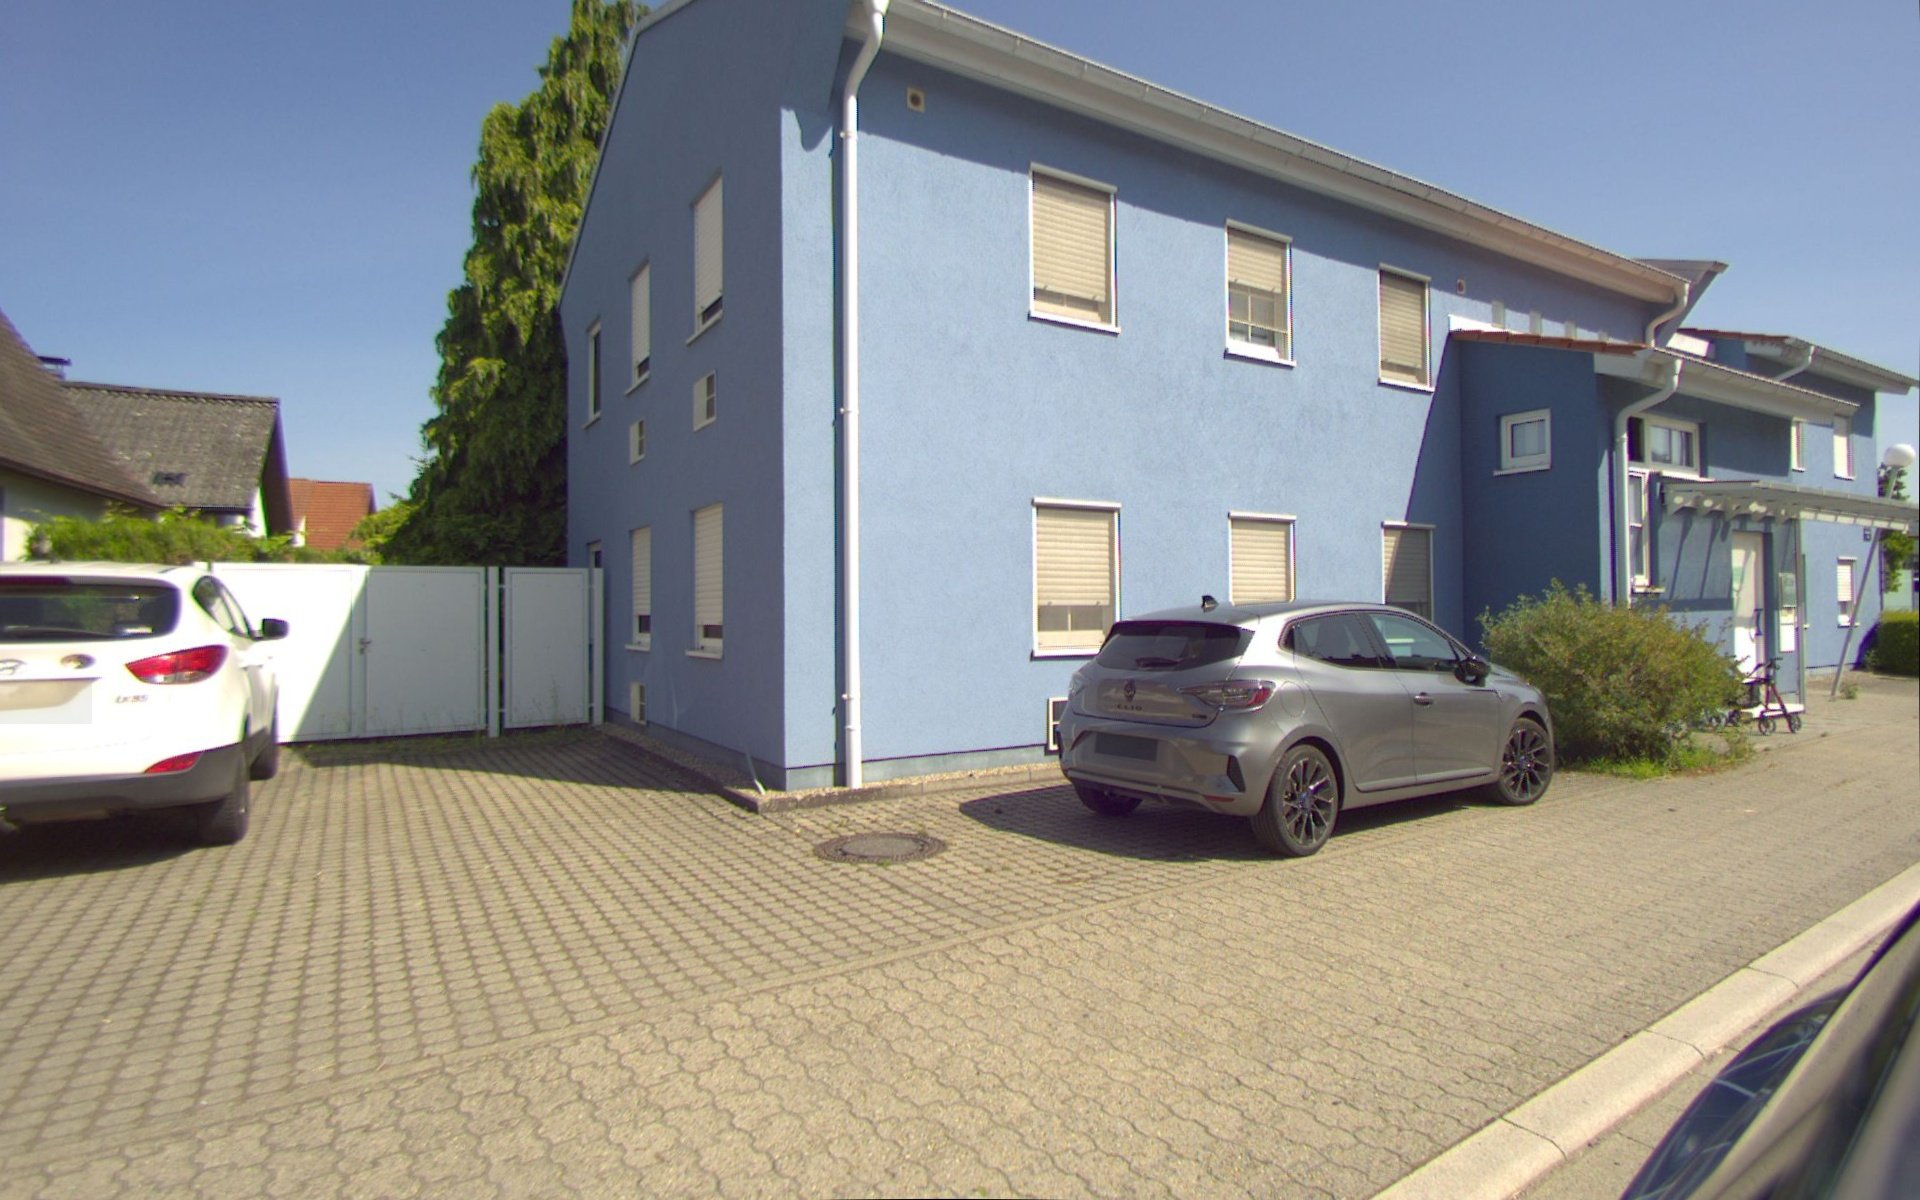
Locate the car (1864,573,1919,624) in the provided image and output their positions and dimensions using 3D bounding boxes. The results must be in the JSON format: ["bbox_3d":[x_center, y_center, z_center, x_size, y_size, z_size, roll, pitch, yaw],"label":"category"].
[{"bbox_3d":[39.532,-0.075,40.239,5.264,2.039,2.198,0,0,42],"label":"car"}]

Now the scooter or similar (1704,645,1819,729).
[{"bbox_3d":[8.838,0.938,11.168,0.811,0.825,0.731,-1,0,-29],"label":"scooter or similar"}]

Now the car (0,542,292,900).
[{"bbox_3d":[-5.548,0.571,6.572,1.776,1.678,4.192,-1,0,-30],"label":"car"}]

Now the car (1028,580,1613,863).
[{"bbox_3d":[2.611,0.613,7.001,4.065,1.438,1.695,-1,-1,-33],"label":"car"}]
